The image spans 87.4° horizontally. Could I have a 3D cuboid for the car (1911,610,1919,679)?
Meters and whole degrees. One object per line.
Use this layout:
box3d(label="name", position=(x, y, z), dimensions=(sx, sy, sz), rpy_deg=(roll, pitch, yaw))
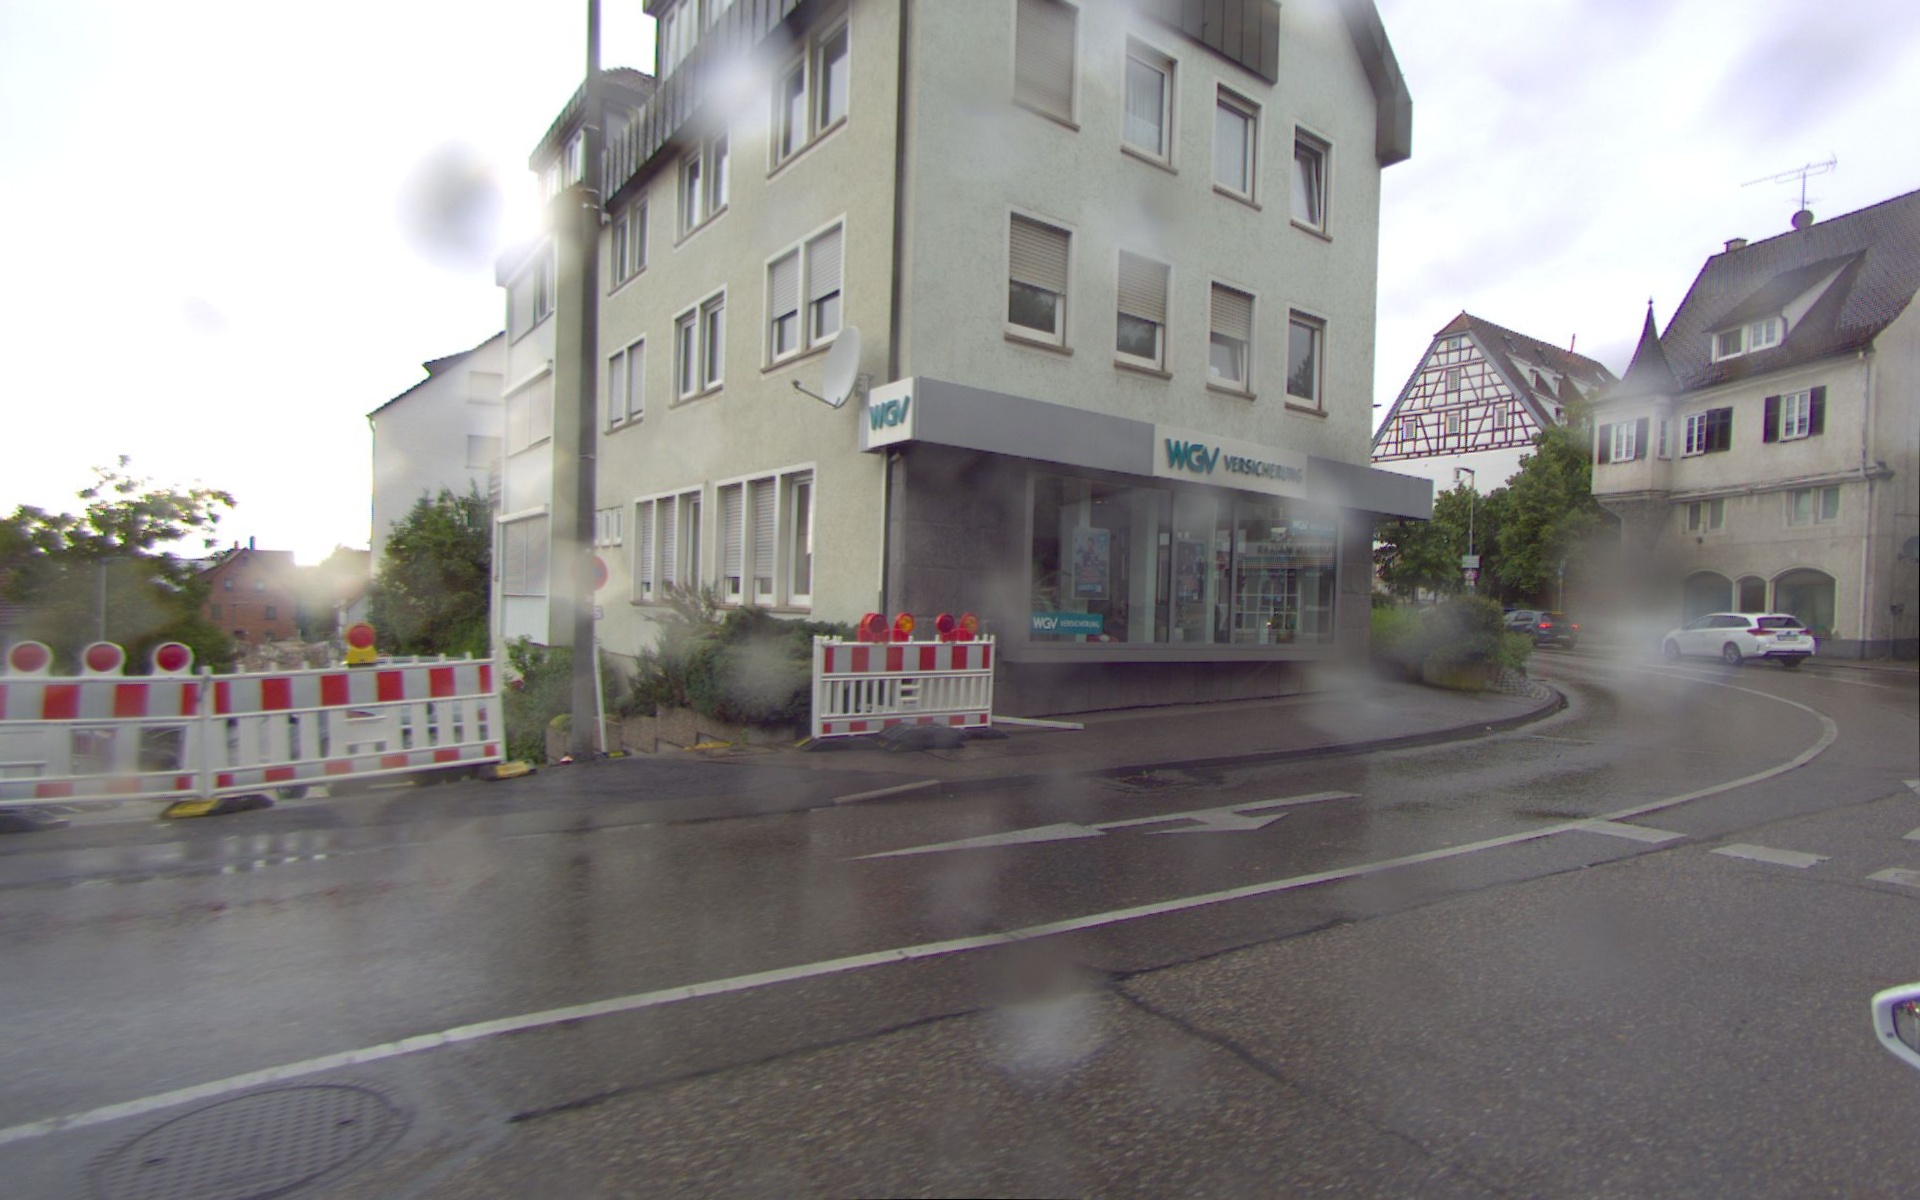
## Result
box3d(label="car", position=(21.542, 0.974, 20.351), dimensions=(1.759, 1.537, 4.240), rpy_deg=(0, 0, 20))

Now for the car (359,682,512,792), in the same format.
box3d(label="car", position=(-7.885, 2.033, 14.950), dimensions=(1.485, 1.327, 3.425), rpy_deg=(-1, -6, -37))

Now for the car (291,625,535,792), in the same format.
box3d(label="car", position=(-5.891, 1.171, 10.623), dimensions=(1.637, 1.407, 3.474), rpy_deg=(-1, -6, -39))

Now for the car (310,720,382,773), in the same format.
box3d(label="car", position=(-18.095, 4.295, 29.543), dimensions=(1.485, 1.327, 3.425), rpy_deg=(-1, -6, -37))

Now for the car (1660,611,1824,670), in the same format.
box3d(label="car", position=(22.570, 1.119, 29.226), dimensions=(1.755, 1.485, 4.165), rpy_deg=(0, 1, 4))

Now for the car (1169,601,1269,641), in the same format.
box3d(label="car", position=(10.054, 0.808, 39.039), dimensions=(3.489, 1.475, 1.702), rpy_deg=(1, 1, -25))

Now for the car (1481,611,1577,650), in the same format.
box3d(label="car", position=(22.306, 1.172, 39.537), dimensions=(1.494, 1.380, 3.765), rpy_deg=(0, 1, -4))

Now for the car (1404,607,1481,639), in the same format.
box3d(label="car", position=(22.017, 1.043, 45.992), dimensions=(1.636, 1.330, 3.622), rpy_deg=(0, 1, -4))
